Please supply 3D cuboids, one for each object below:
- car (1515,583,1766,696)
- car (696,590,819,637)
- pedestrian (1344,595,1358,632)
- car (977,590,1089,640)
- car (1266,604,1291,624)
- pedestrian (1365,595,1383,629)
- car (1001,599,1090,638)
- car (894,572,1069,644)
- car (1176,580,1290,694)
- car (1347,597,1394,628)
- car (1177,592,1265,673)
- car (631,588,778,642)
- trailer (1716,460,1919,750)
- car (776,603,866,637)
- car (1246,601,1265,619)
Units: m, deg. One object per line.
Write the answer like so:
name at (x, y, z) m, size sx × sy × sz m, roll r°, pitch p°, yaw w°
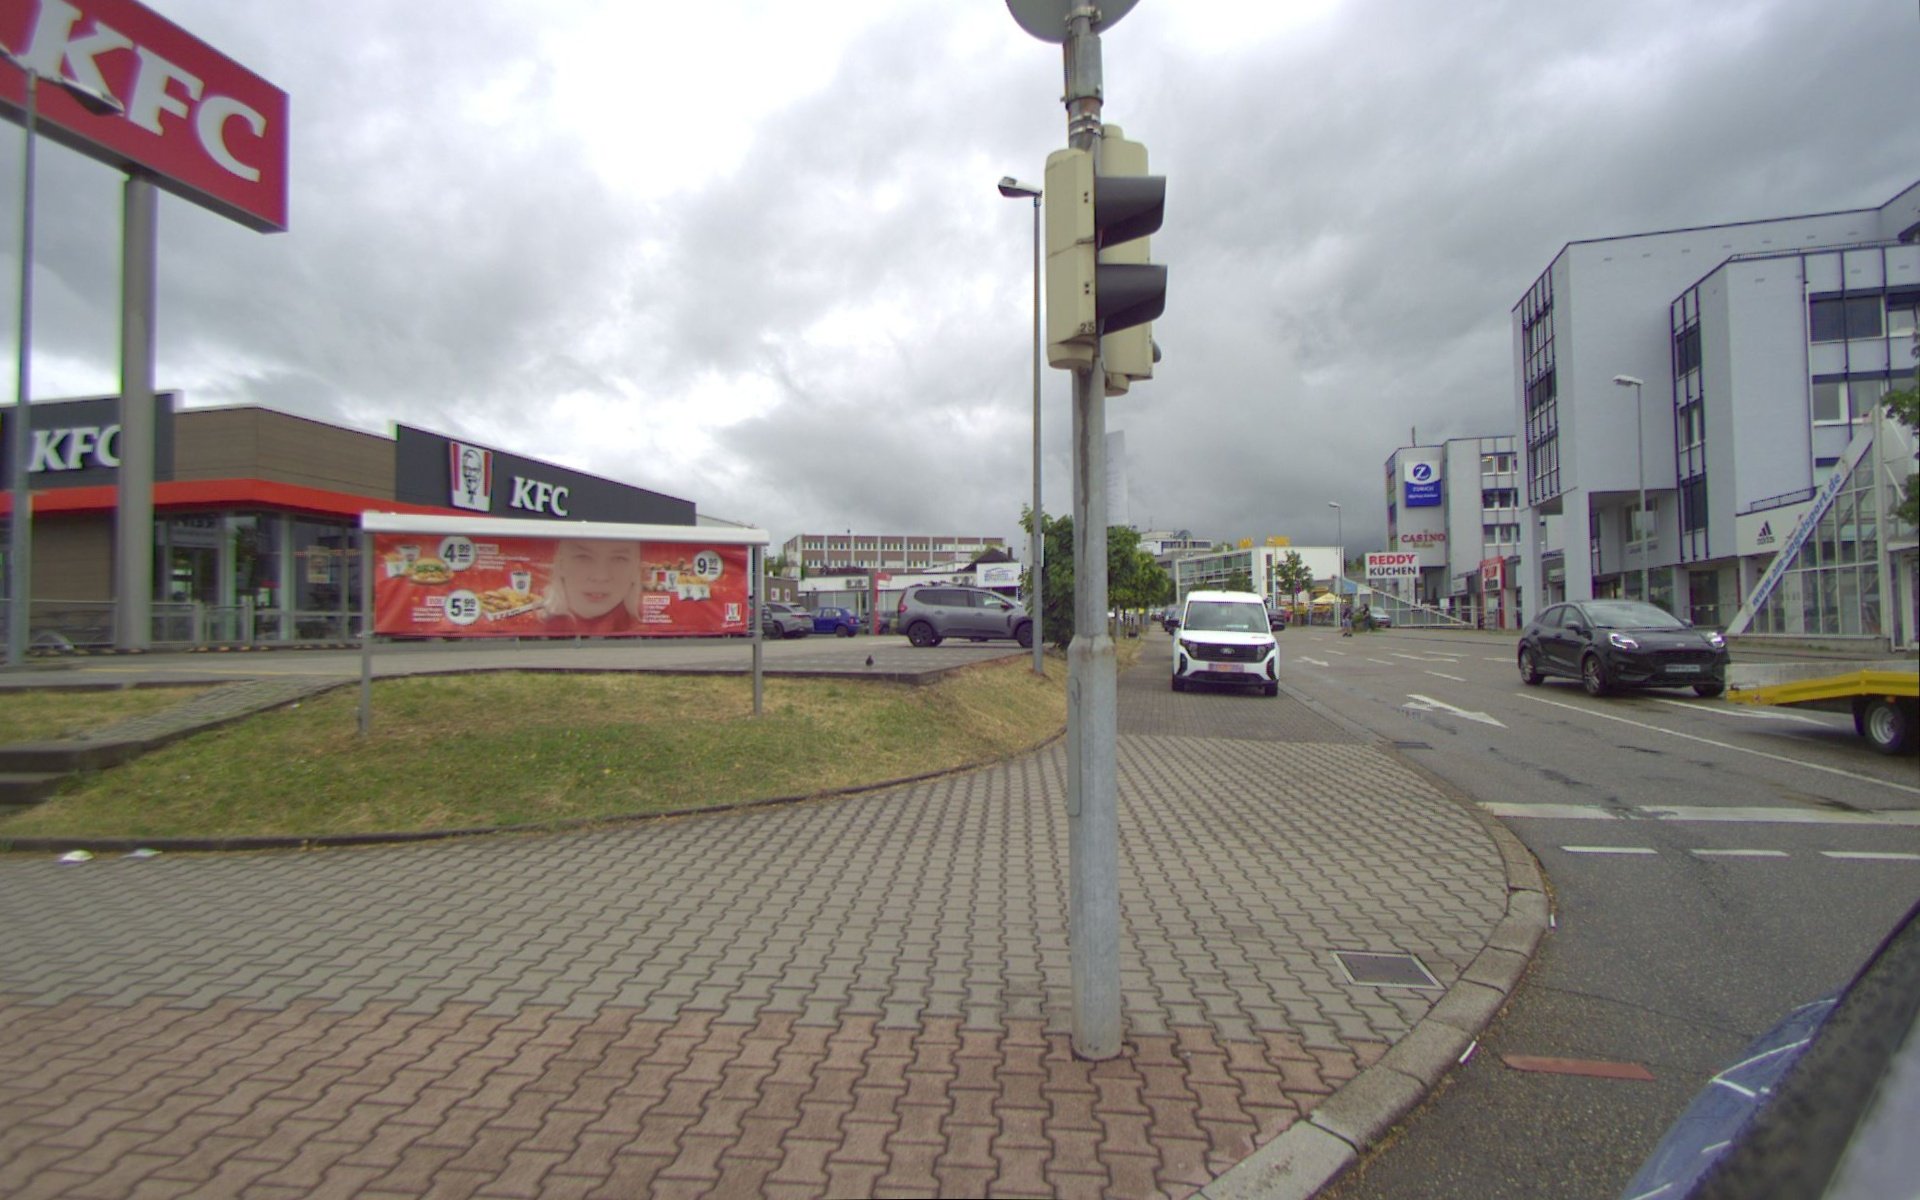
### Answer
car at (10.922, 0.601, 16.633) m, size 1.784 × 1.560 × 3.989 m, roll -3°, pitch -1°, yaw 9°
car at (-8.043, 0.545, 40.317) m, size 4.427 × 1.763 × 1.888 m, roll -1°, pitch -1°, yaw 9°
pedestrian at (18.916, 0.649, 48.975) m, size 0.543 × 1.729 × 0.517 m, roll -2°, pitch -1°, yaw 15°
car at (2.864, 0.585, 39.349) m, size 4.118 × 1.797 × 1.876 m, roll -1°, pitch -1°, yaw 11°
car at (28.317, 1.244, 90.046) m, size 1.775 × 1.694 × 3.653 m, roll -2°, pitch -1°, yaw 13°
pedestrian at (21.612, 0.642, 52.877) m, size 0.579 × 1.765 × 0.644 m, roll 0°, pitch -2°, yaw -44°
car at (3.692, 0.798, 43.414) m, size 3.684 × 1.533 × 1.730 m, roll -2°, pitch -1°, yaw 10°
car at (0.620, 0.228, 26.916) m, size 4.427 × 1.763 × 1.888 m, roll -1°, pitch -1°, yaw 9°
car at (4.866, 0.604, 18.453) m, size 1.771 × 1.806 × 4.232 m, roll 1°, pitch 0°, yaw 13°
car at (23.059, 0.678, 56.955) m, size 1.796 × 1.631 × 3.983 m, roll -1°, pitch -1°, yaw 13°
car at (6.086, 0.720, 23.829) m, size 1.796 × 1.730 × 3.983 m, roll -1°, pitch -1°, yaw 13°
car at (-8.975, 0.544, 35.679) m, size 4.664 × 1.763 × 1.888 m, roll -1°, pitch -1°, yaw 9°
trailer at (9.271, 0.028, 7.770) m, size 2.274 × 2.505 × 7.944 m, roll -1°, pitch 0°, yaw 11°
car at (-6.562, 0.945, 48.065) m, size 3.966 × 1.505 × 1.737 m, roll -1°, pitch -1°, yaw 6°
car at (30.501, 1.014, 104.476) m, size 1.544 × 1.841 × 3.890 m, roll -2°, pitch -1°, yaw 13°
